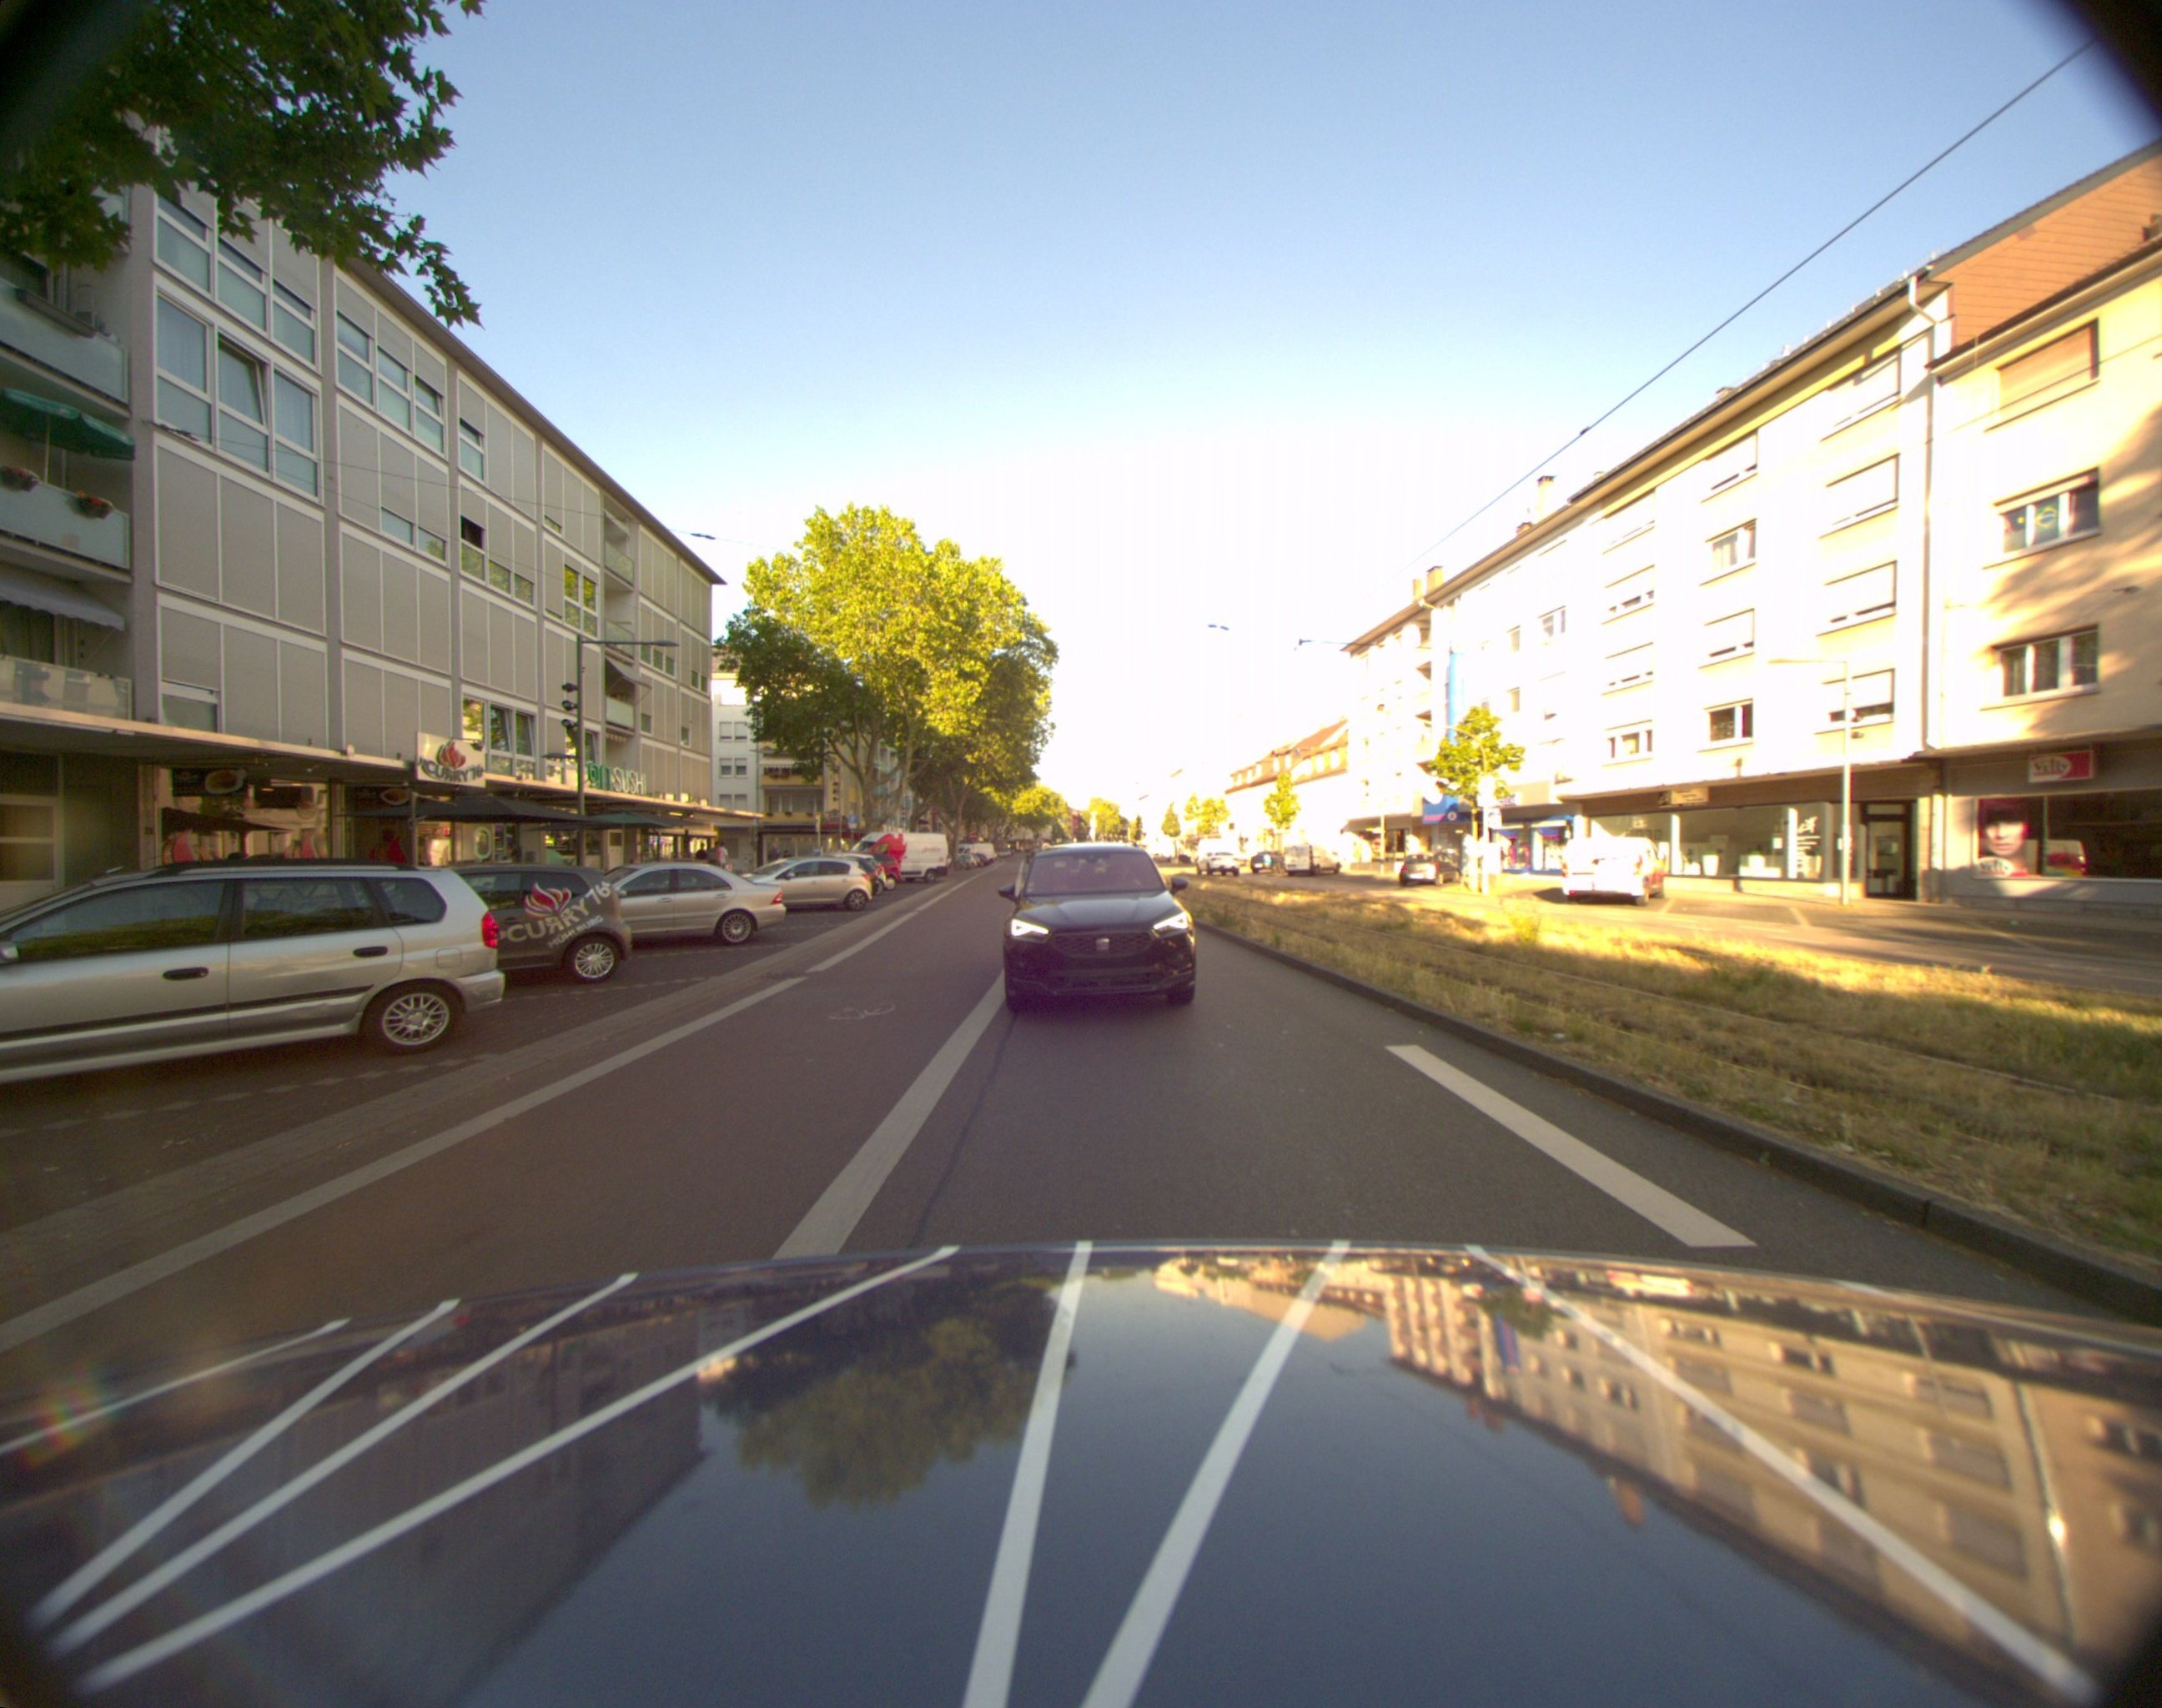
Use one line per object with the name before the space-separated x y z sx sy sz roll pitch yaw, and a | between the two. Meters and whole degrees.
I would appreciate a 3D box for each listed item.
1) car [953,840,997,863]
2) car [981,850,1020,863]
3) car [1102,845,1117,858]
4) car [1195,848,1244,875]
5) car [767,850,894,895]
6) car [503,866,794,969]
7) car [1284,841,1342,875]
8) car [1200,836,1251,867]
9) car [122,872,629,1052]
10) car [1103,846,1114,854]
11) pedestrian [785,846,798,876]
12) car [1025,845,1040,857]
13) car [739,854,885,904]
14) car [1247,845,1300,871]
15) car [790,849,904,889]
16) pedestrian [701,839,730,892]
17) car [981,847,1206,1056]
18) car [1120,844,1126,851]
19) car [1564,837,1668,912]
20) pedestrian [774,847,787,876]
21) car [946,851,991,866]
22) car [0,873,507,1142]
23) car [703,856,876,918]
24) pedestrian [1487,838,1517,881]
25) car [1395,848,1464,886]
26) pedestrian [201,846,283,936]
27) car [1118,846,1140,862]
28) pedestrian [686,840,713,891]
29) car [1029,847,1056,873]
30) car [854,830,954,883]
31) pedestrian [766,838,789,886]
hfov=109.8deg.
car | -11.767 -0.284 84.441 1.973 2.454 4.606 1 1 44
car | -8.709 0.291 82.031 1.778 1.326 3.943 0 1 44
car | 4.417 -0.391 119.910 1.906 2.002 3.998 0 1 -5
car | 8.641 0.433 47.751 1.846 1.571 4.448 0 1 -6
car | -8.832 0.675 26.913 3.948 1.421 1.672 2 2 -32
car | -7.131 0.943 12.835 1.592 1.393 3.950 2 1 41
car | 14.478 0.203 47.299 1.853 1.926 4.513 -1 1 40
car | 13.048 -0.243 68.151 1.922 2.599 6.601 -1 1 34
car | -7.586 0.971 8.540 1.672 1.420 3.950 2 1 38
car | 6.468 -0.870 178.571 2.498 1.871 5.273 0 1 1
pedestrian | -16.529 0.387 43.389 0.545 1.710 0.457 0 1 -4
car | -6.506 -0.413 101.564 1.729 1.443 4.227 -2 1 -1
car | -8.302 0.758 23.556 3.949 1.420 1.672 2 1 -34
car | 13.776 0.292 54.187 3.922 1.704 1.853 -2 1 -45
car | -9.214 0.594 29.958 3.948 1.421 1.672 2 2 -32
pedestrian | -14.142 0.430 29.436 0.748 2.002 0.764 0 1 -4
car | 0.155 0.785 8.230 1.784 1.639 4.000 -2 1 1
car | 13.015 -2.028 235.028 1.842 2.002 4.001 0 1 4
car | 15.615 0.517 22.094 1.853 1.888 4.007 -1 2 44
pedestrian | -17.155 0.411 43.332 0.537 1.630 0.478 0 1 -4
car | -10.708 0.388 72.443 1.778 1.396 3.943 0 1 44
car | -6.863 0.964 5.519 1.672 1.533 3.993 2 1 38
car | -7.573 0.823 19.985 3.950 1.420 1.555 1 1 -45
pedestrian | 18.357 0.242 33.138 0.757 1.817 0.917 -1 1 -2
car | 15.392 0.551 33.458 1.731 1.489 4.008 -1 1 40
pedestrian | -15.065 0.647 13.666 0.583 1.573 0.771 0 1 2
car | 5.621 -0.029 89.141 1.999 1.783 3.998 0 1 -4
pedestrian | -14.939 0.436 29.745 0.748 1.964 0.575 0 1 -4
car | -2.564 0.372 51.247 1.646 1.646 3.999 -2 1 -1
car | -8.657 0.137 37.427 4.606 2.479 1.672 0 0 -44
pedestrian | -12.739 0.346 31.940 0.748 2.002 0.559 0 1 -4
